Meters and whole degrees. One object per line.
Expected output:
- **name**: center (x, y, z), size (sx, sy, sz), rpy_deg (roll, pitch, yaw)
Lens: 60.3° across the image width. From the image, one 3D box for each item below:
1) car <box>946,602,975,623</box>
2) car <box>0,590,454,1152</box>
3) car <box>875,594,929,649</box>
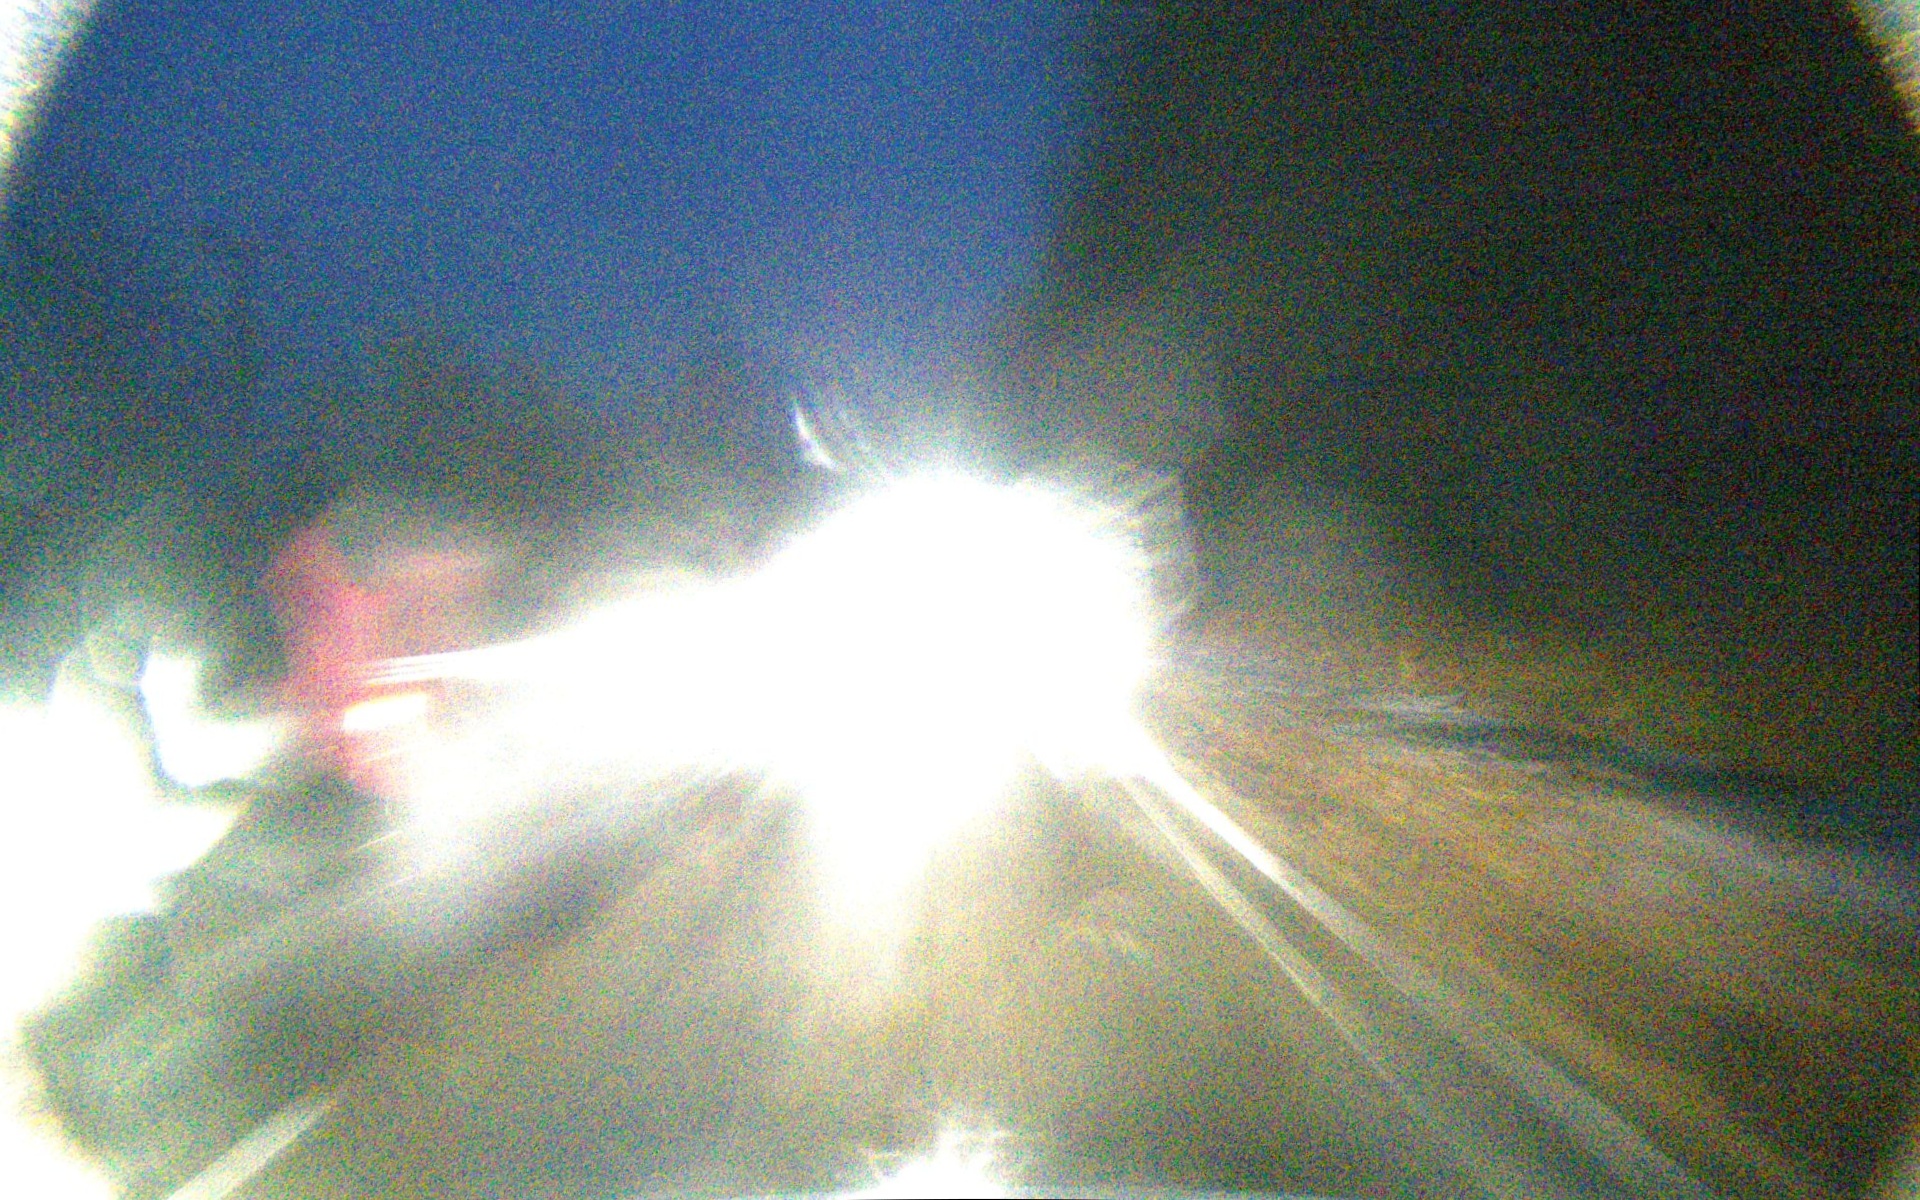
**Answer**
- **car**: center (0.056, 0.895, 122.466), size (1.877, 1.490, 4.260), rpy_deg (1, 0, 3)
- **car**: center (-3.471, 0.694, 6.205), size (1.953, 1.415, 3.845), rpy_deg (1, 1, 0)
- **car**: center (-2.135, 0.774, 61.933), size (1.816, 1.974, 4.001), rpy_deg (0, 0, 1)
